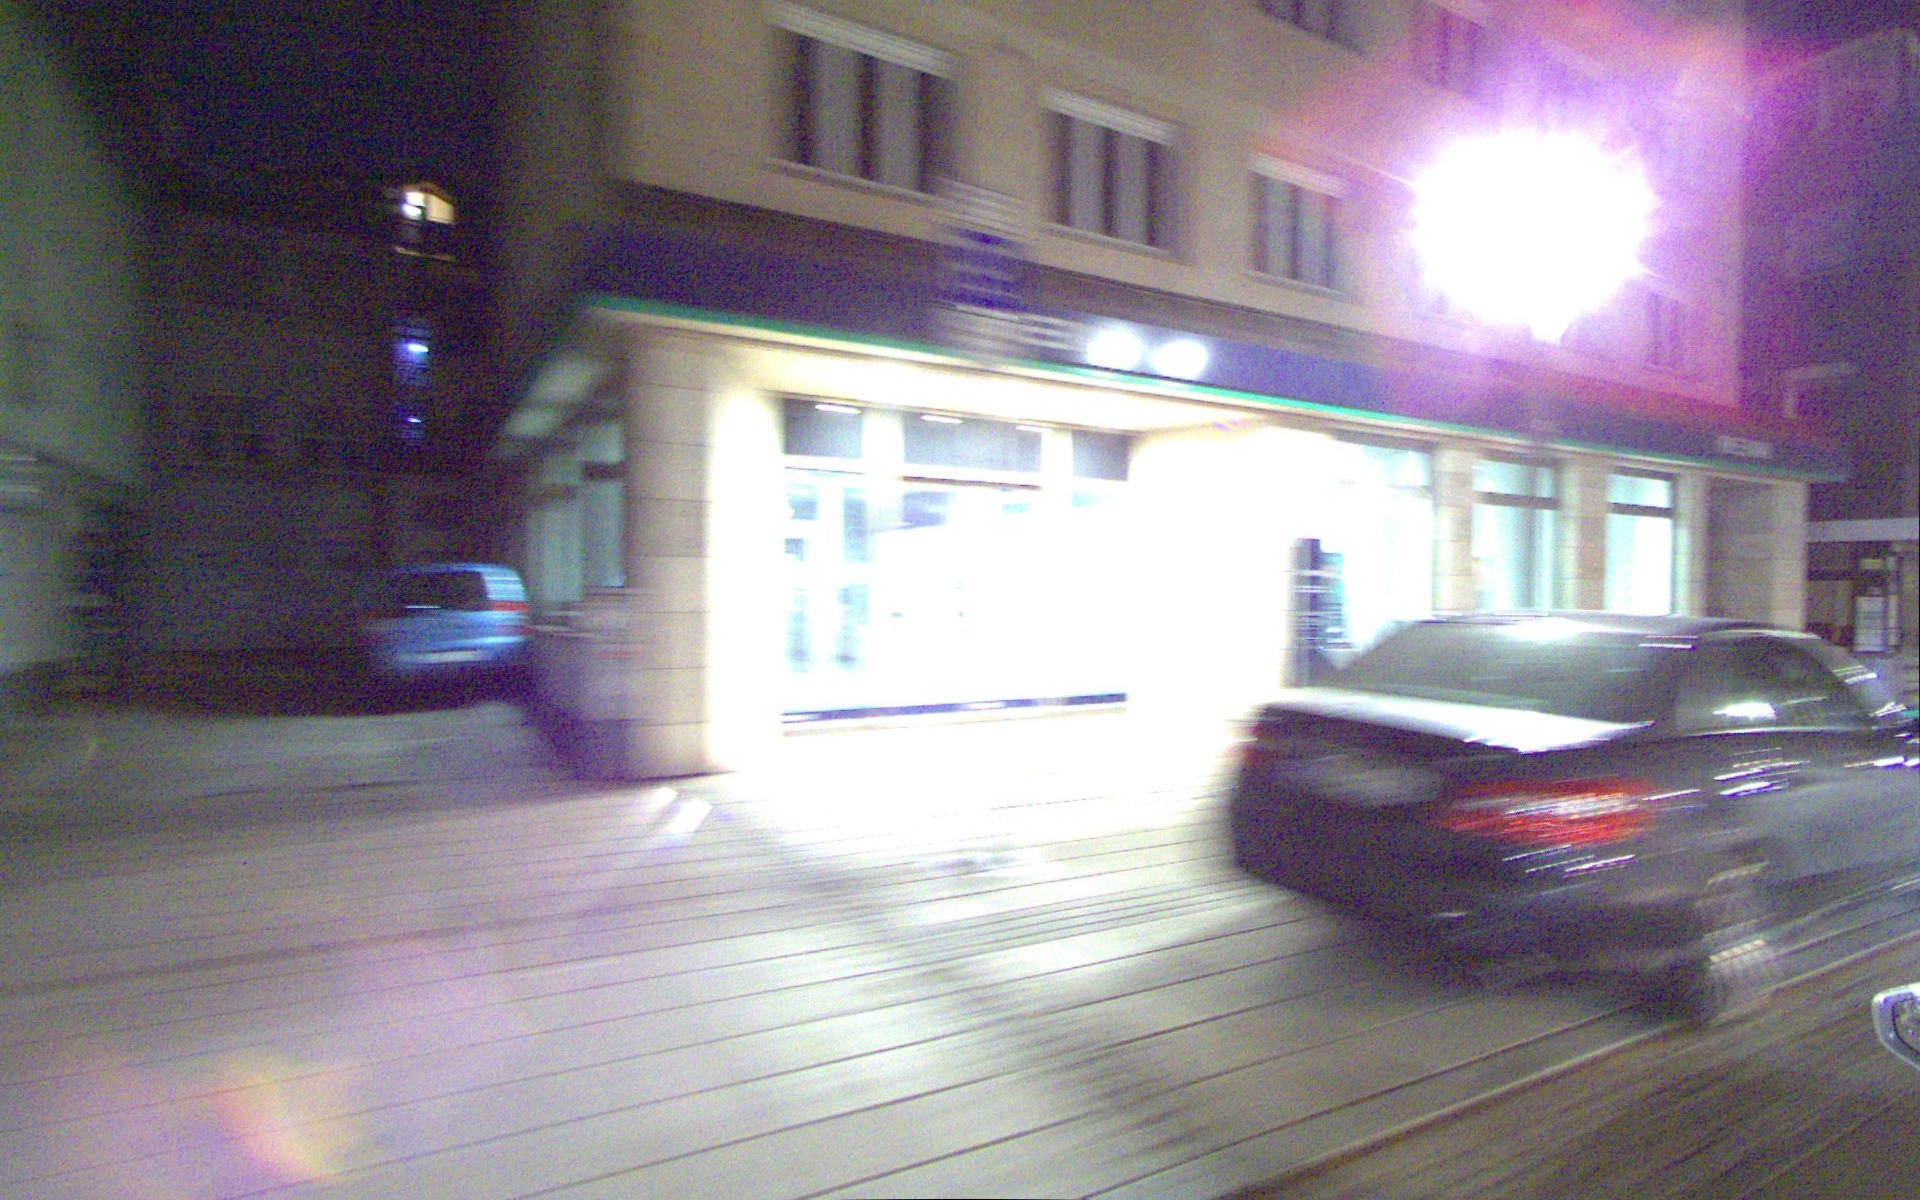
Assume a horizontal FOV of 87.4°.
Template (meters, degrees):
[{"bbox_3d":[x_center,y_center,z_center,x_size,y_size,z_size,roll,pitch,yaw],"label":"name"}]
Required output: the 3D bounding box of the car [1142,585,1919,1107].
[{"bbox_3d":[3.194,0.719,4.892,4.476,1.490,1.888,1,0,-33],"label":"car"}]

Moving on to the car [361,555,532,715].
[{"bbox_3d":[-6.826,0.335,13.303,1.750,1.805,3.409,-2,2,-29],"label":"car"}]
